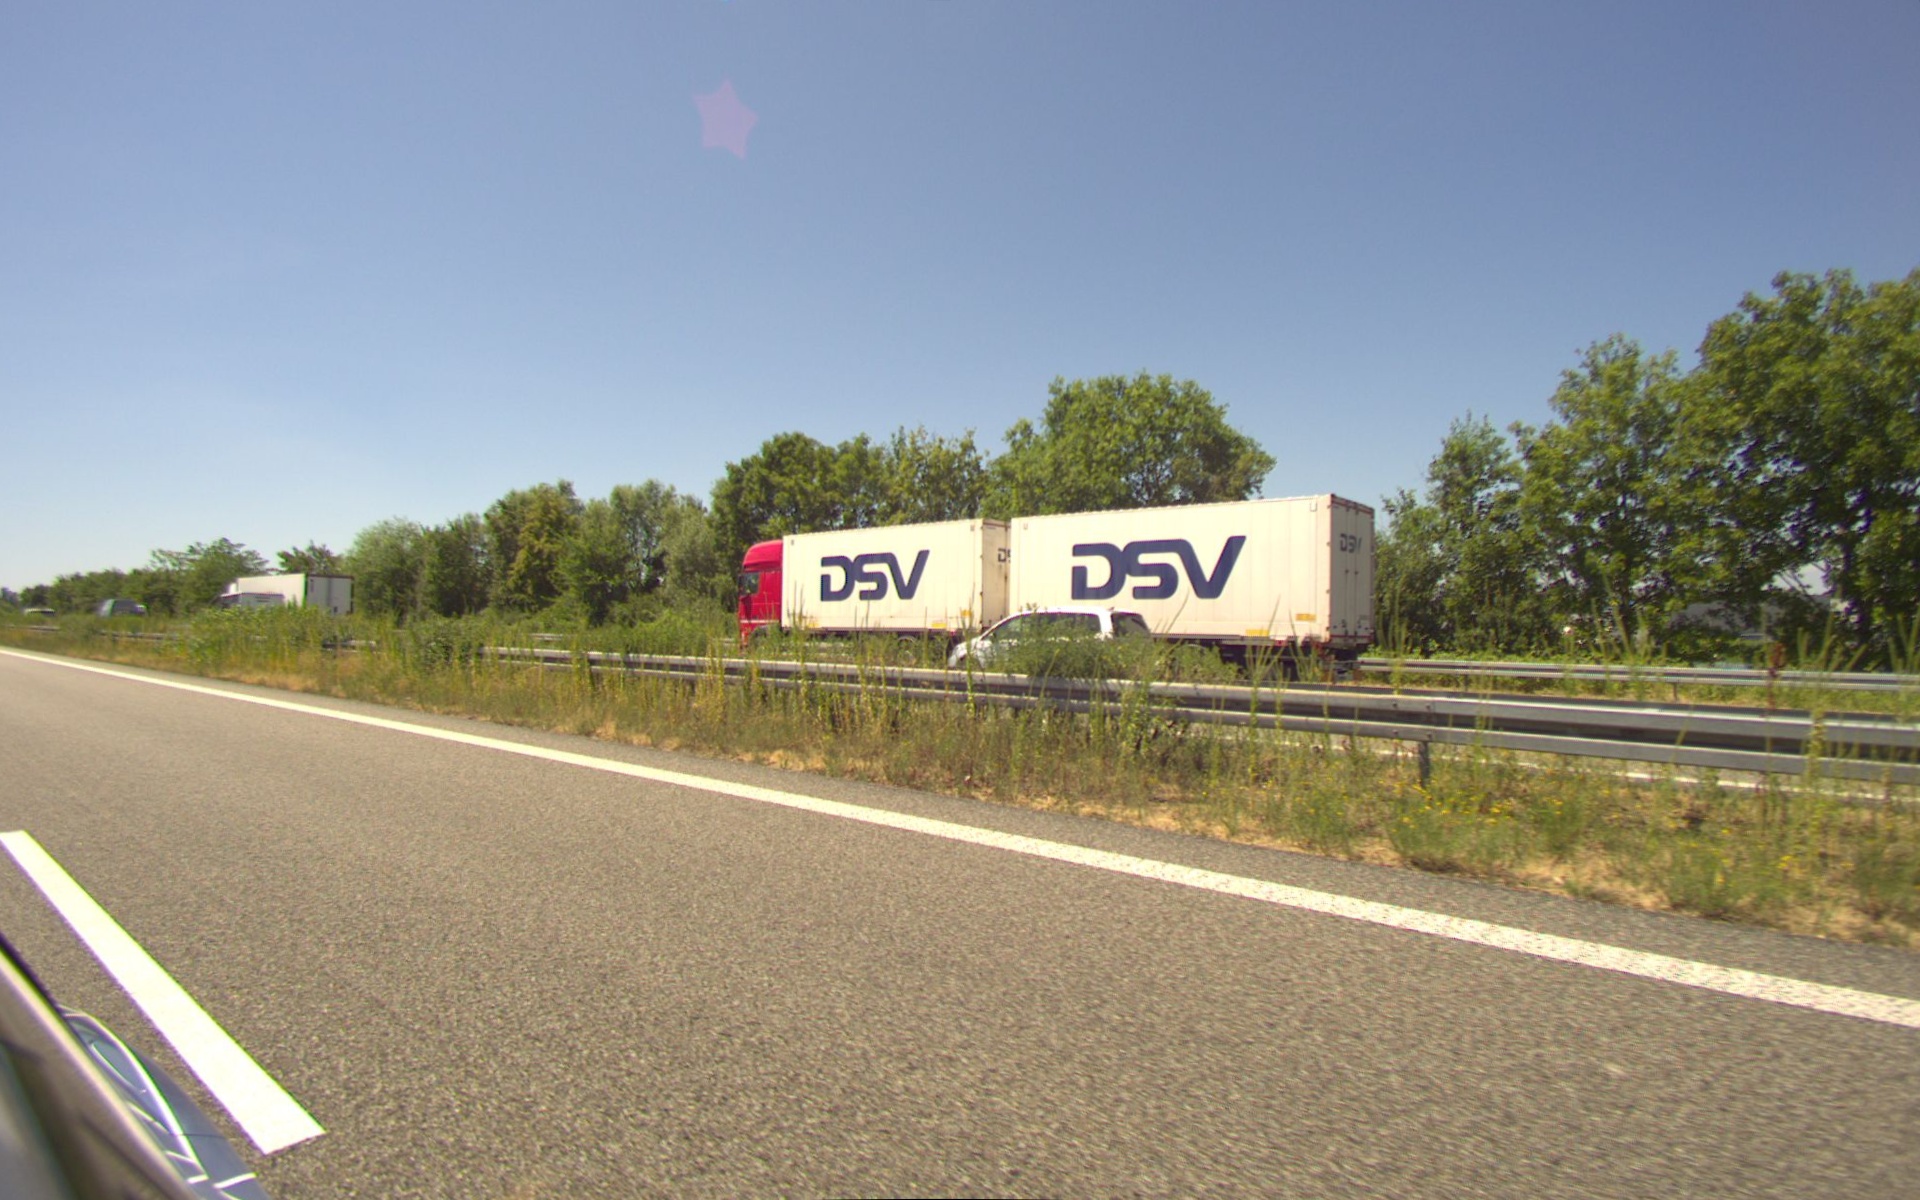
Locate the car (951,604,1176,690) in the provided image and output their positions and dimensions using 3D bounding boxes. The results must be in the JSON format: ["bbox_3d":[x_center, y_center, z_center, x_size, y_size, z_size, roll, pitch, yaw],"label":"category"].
[{"bbox_3d":[1.906,0.866,19.284,4.039,1.453,1.590,-2,-1,39],"label":"car"}]

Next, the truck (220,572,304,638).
[{"bbox_3d":[-46.711,0.364,67.665,6.520,4.143,3.040,-2,-1,40],"label":"truck"}]

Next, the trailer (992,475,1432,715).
[{"bbox_3d":[5.181,0.027,22.451,9.026,4.358,3.016,-2,-1,41],"label":"trailer"}]

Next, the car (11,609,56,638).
[{"bbox_3d":[-71.958,1.812,78.579,5.274,2.136,1.906,-1,-1,40],"label":"car"}]

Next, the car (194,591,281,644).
[{"bbox_3d":[-40.832,0.983,57.119,6.601,2.844,2.305,-1,-2,39],"label":"car"}]

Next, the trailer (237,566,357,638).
[{"bbox_3d":[-41.554,0.253,63.181,12.226,4.070,3.016,-2,-1,41],"label":"trailer"}]

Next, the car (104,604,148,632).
[{"bbox_3d":[-77.016,1.707,93.417,6.011,2.482,2.081,-1,-2,41],"label":"car"}]

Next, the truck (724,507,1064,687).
[{"bbox_3d":[-2.294,0.055,29.033,10.622,4.343,3.039,-2,-1,41],"label":"truck"}]

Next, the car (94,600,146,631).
[{"bbox_3d":[-66.028,1.244,79.494,5.293,2.380,2.187,-1,-2,40],"label":"car"}]
